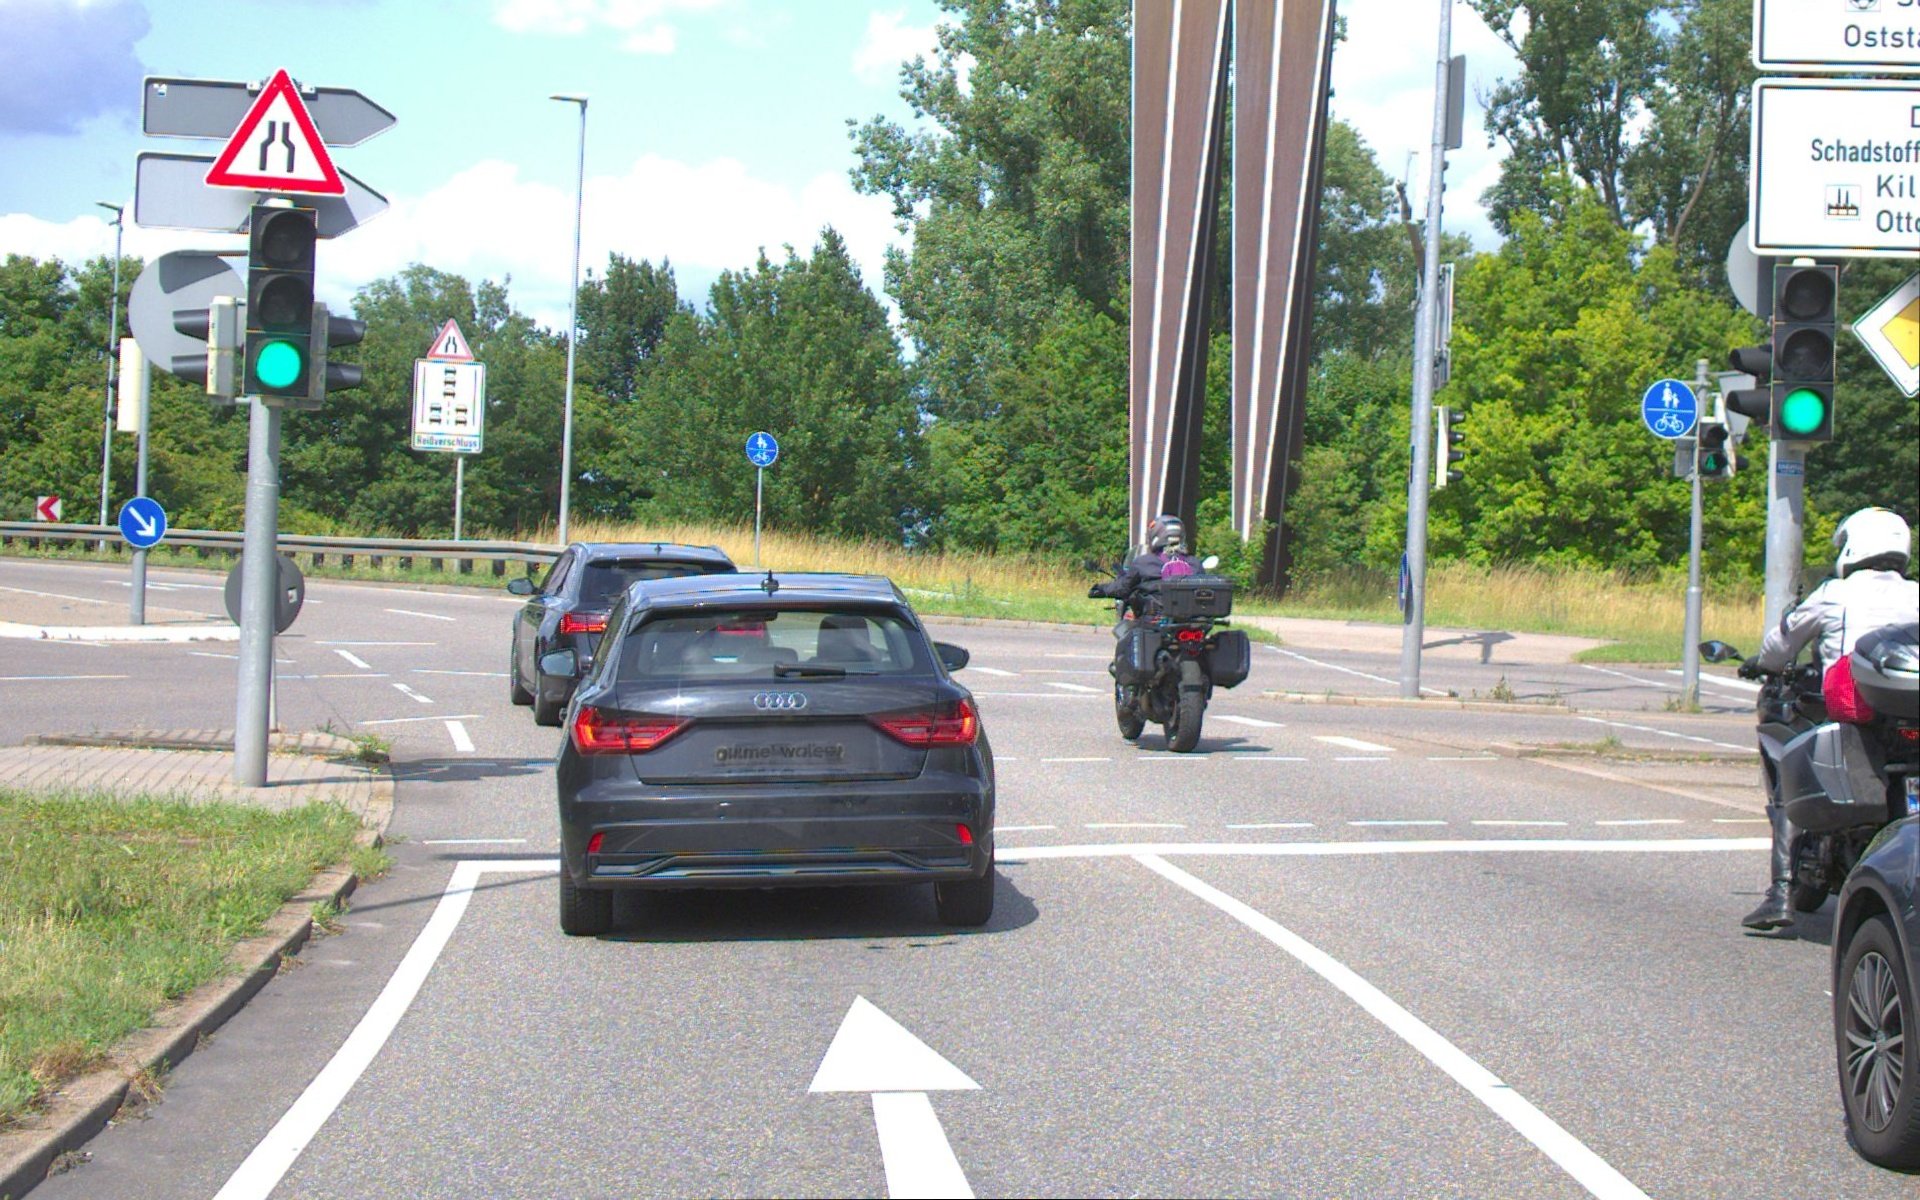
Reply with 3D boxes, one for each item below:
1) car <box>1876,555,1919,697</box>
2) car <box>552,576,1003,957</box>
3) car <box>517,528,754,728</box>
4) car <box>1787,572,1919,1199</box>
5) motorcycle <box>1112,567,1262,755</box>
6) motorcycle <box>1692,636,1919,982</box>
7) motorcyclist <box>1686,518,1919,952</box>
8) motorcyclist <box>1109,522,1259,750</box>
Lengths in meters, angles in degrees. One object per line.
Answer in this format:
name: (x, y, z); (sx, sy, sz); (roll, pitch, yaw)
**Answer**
car: (13.417, 0.409, 41.343); (4.202, 1.640, 1.838); (3, 2, -2)
car: (-0.689, 0.609, 14.716); (1.682, 1.383, 3.739); (0, 1, 0)
car: (-2.563, 0.180, 27.842); (1.642, 1.474, 3.872); (1, 1, -2)
car: (3.090, 0.714, 6.957); (1.642, 1.474, 3.873); (1, 1, -4)
motorcycle: (1.621, 0.410, 24.976); (0.887, 1.243, 2.399); (2, 1, 0)
motorcycle: (3.493, 0.752, 13.240); (0.789, 1.128, 2.399); (2, 1, 0)
motorcyclist: (3.480, 0.505, 13.500); (0.966, 1.615, 1.125); (2, 1, 0)
motorcyclist: (1.616, 0.246, 24.989); (0.966, 1.590, 1.125); (2, 1, 0)
